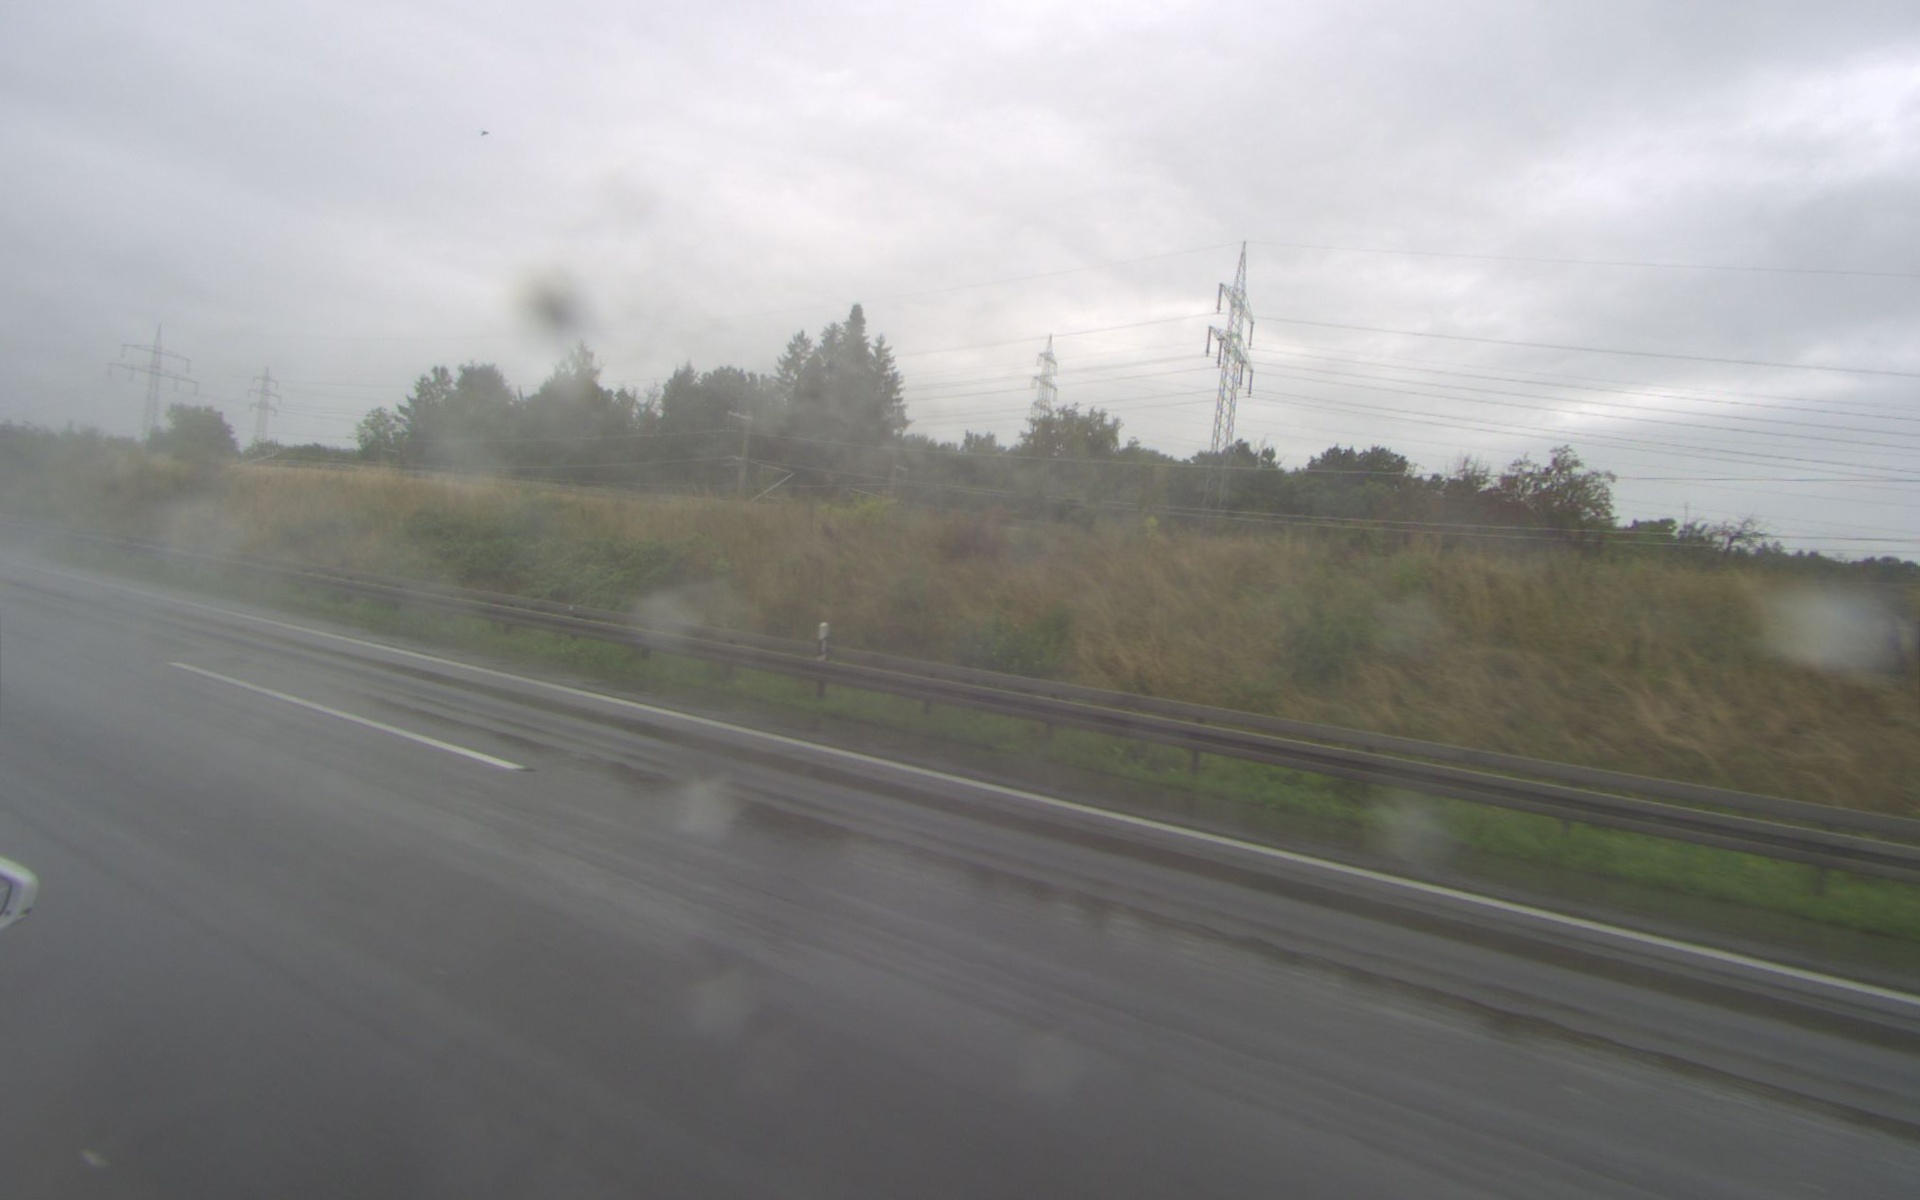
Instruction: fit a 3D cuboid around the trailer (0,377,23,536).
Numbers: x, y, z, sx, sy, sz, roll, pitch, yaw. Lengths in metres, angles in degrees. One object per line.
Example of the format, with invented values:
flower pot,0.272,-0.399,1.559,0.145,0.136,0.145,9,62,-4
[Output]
trailer,-29.244,-4.256,27.176,10.880,3.927,2.502,7,-1,31
